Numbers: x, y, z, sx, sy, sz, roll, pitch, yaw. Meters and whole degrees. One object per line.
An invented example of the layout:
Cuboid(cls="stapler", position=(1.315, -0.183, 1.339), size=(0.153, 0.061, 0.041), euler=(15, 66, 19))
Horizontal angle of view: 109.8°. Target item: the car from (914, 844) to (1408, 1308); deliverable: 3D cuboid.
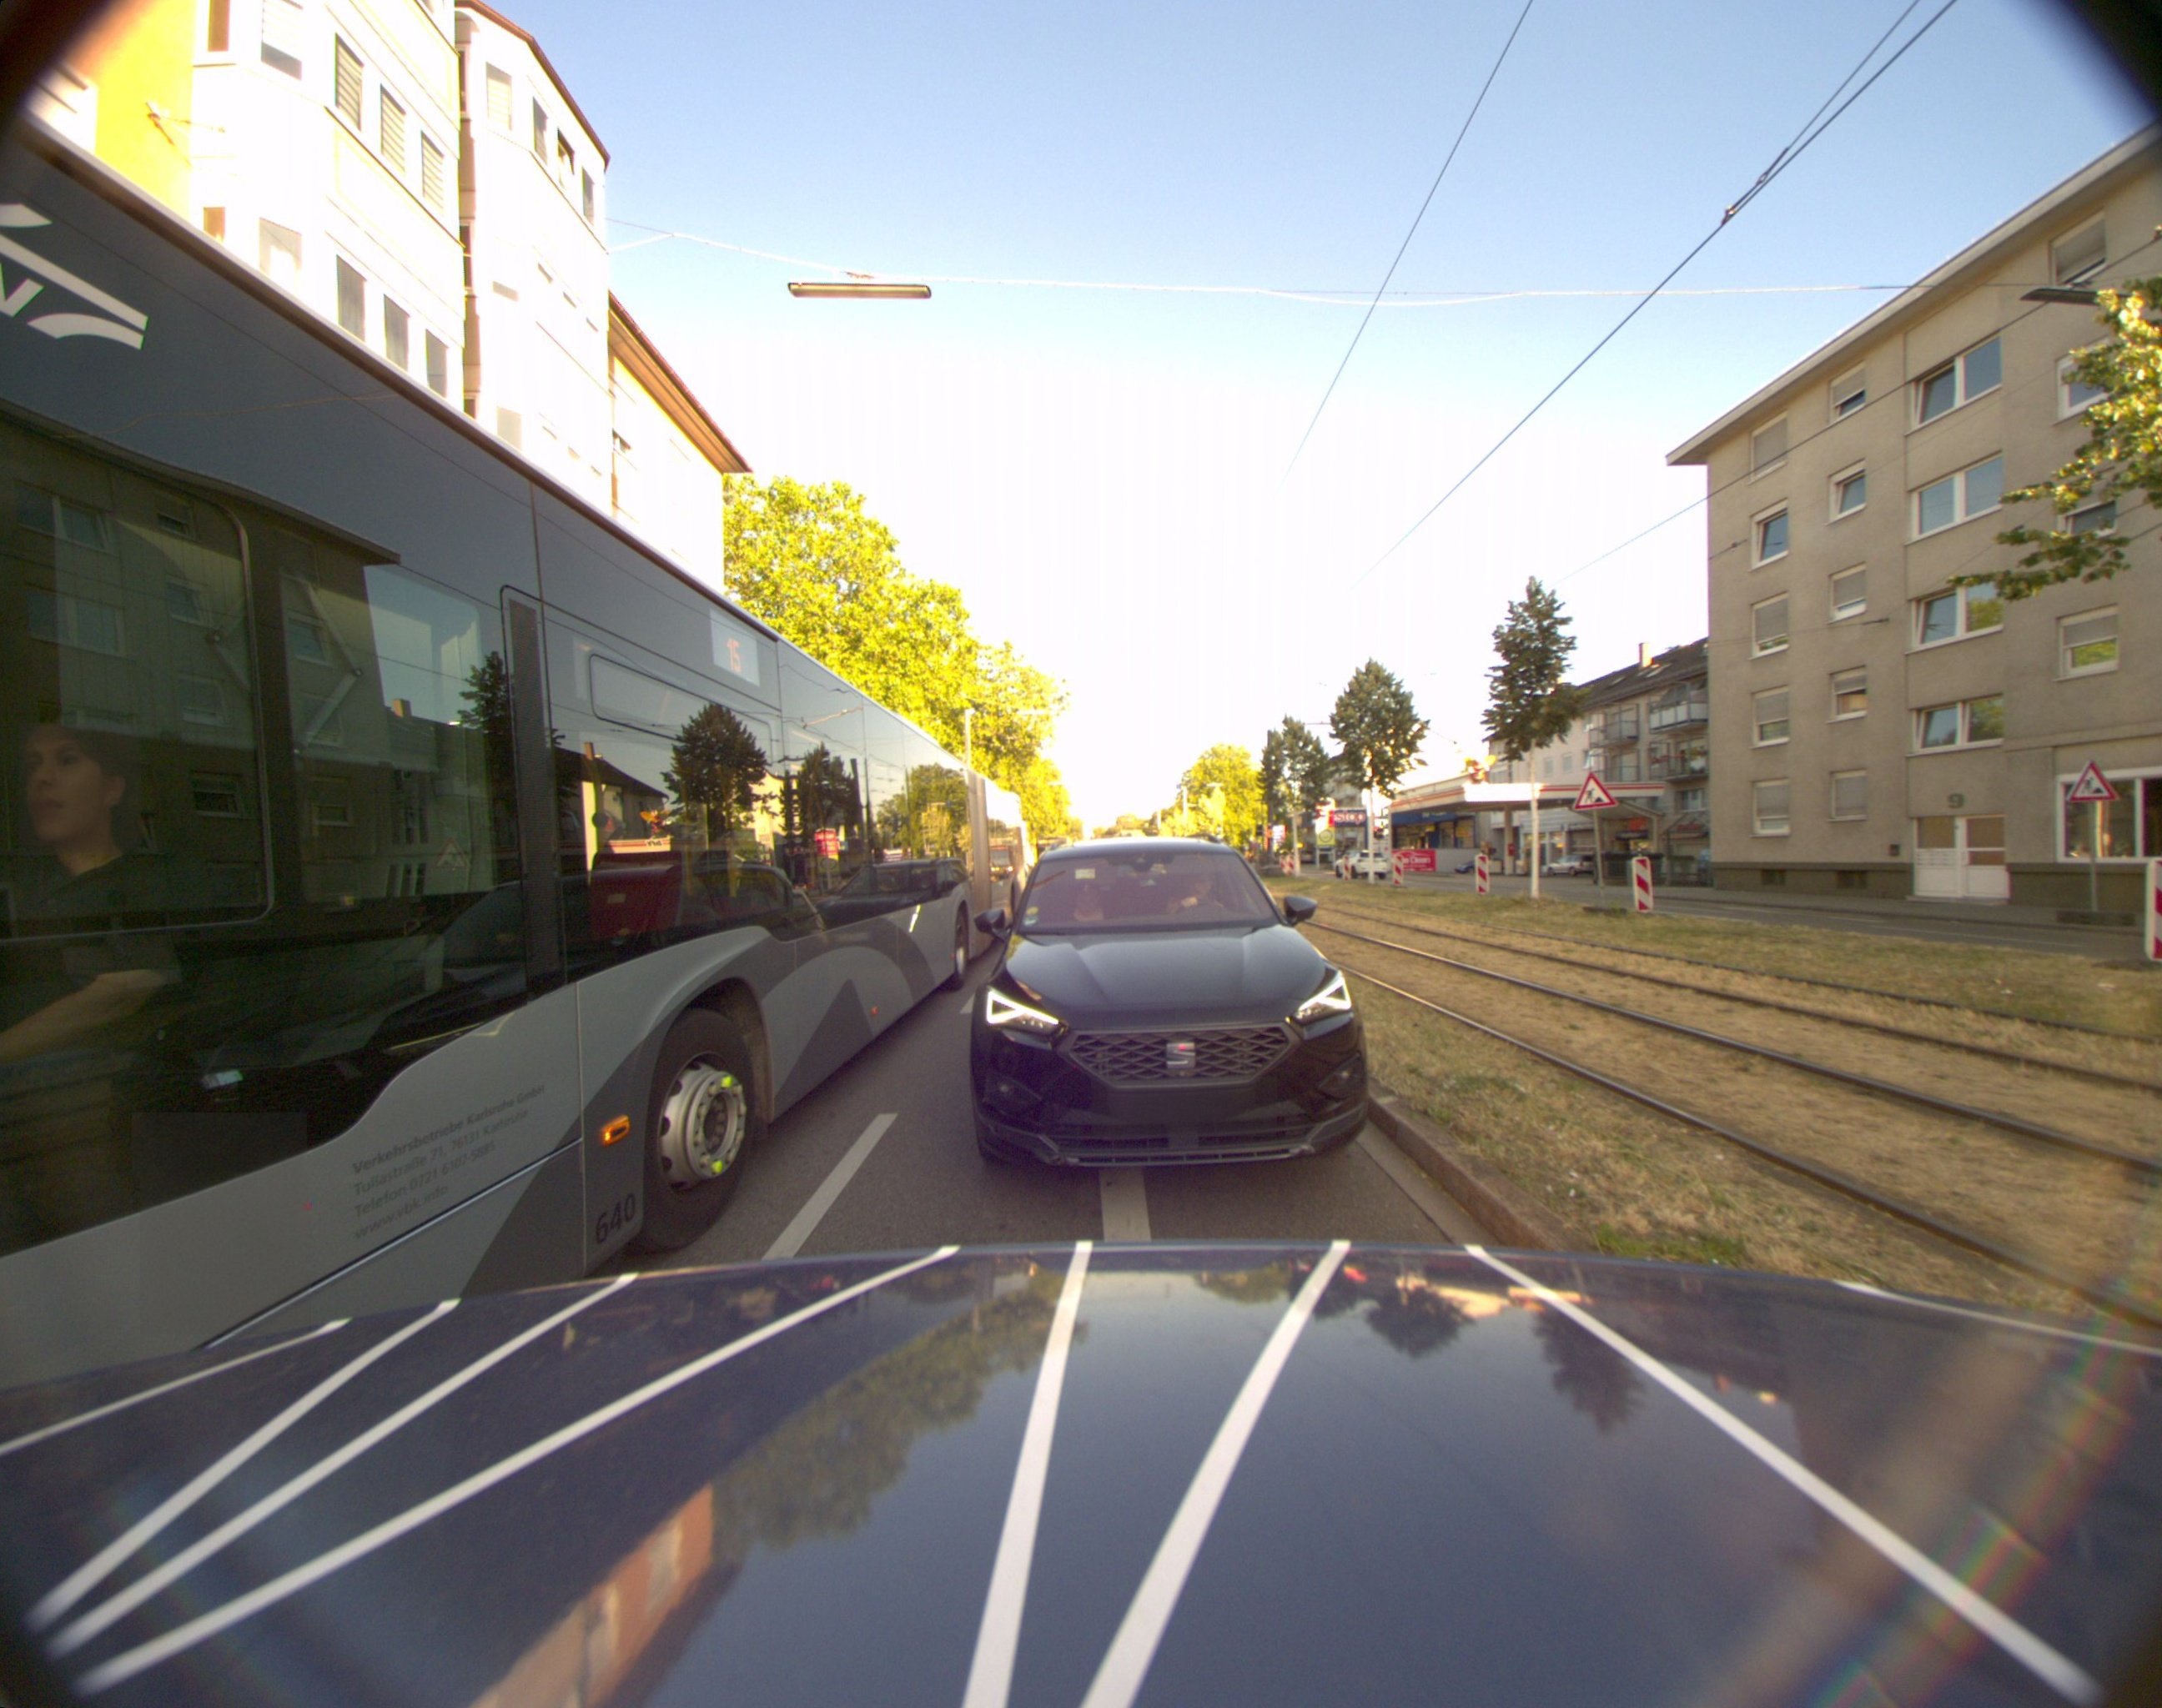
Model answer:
Cuboid(cls="car", position=(0.323, 0.823, 4.809), size=(1.774, 1.667, 4.000), euler=(-2, 0, 1))

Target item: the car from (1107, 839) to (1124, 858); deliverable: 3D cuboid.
Cuboid(cls="car", position=(3.997, -0.634, 87.892), size=(1.767, 2.002, 3.791), euler=(-2, 1, 1))

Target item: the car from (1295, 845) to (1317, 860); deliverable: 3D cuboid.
Cuboid(cls="car", position=(25.105, -0.214, 84.830), size=(1.781, 1.547, 4.002), euler=(-2, 1, 9))

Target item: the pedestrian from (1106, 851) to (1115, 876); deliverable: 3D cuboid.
Cuboid(cls="pedestrian", position=(2.407, 0.766, 61.757), size=(0.625, 2.002, 0.695), euler=(-2, 0, 0))

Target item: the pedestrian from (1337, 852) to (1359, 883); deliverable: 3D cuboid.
Cuboid(cls="pedestrian", position=(10.959, 0.546, 31.227), size=(0.664, 1.263, 0.581), euler=(-2, 0, 1))

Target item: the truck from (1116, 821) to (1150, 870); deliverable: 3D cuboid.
Cuboid(cls="truck", position=(4.321, -0.699, 64.537), size=(2.306, 3.798, 7.723), euler=(-2, 1, 1))

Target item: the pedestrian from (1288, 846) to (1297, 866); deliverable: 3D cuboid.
Cuboid(cls="pedestrian", position=(20.506, 0.192, 73.676), size=(0.632, 2.002, 0.583), euler=(0, 1, 2))

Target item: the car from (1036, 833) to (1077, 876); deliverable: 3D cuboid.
Cuboid(cls="car", position=(-1.712, 0.020, 55.724), size=(2.681, 2.875, 5.452), euler=(-2, 1, 0))

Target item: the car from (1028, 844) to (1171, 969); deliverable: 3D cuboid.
Cuboid(cls="car", position=(0.289, 0.732, 12.692), size=(1.998, 1.739, 4.000), euler=(0, 0, 1))

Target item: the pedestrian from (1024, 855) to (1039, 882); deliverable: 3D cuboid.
Cuboid(cls="pedestrian", position=(-2.929, 0.836, 45.081), size=(0.700, 1.552, 0.508), euler=(-3, 1, -35))

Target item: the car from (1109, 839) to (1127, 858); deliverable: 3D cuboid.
Cuboid(cls="car", position=(4.088, -0.589, 83.570), size=(1.767, 2.002, 3.791), euler=(-2, 1, 1))

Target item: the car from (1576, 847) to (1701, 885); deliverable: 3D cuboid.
Cuboid(cls="car", position=(22.781, 0.502, 31.157), size=(3.727, 1.460, 1.908), euler=(0, -1, 0))

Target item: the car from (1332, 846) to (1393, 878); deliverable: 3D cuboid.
Cuboid(cls="car", position=(16.222, 0.409, 43.973), size=(1.998, 1.725, 4.393), euler=(-1, 1, 2))

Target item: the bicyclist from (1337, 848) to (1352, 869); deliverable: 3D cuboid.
Cuboid(cls="bicyclist", position=(18.372, 0.320, 53.024), size=(0.780, 1.438, 0.650), euler=(-1, 1, -2))

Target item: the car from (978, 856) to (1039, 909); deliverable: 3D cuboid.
Cuboid(cls="car", position=(-2.453, 0.943, 26.526), size=(1.750, 1.598, 3.823), euler=(-2, 1, -1))

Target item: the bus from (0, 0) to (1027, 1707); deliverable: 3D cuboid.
Cuboid(cls="bus", position=(-2.774, 0.196, 9.019), size=(2.773, 3.131, 17.740), euler=(-2, 0, 1))

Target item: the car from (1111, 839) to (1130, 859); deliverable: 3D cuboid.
Cuboid(cls="car", position=(4.069, -0.531, 78.537), size=(1.767, 2.002, 3.791), euler=(-2, 1, 1))
